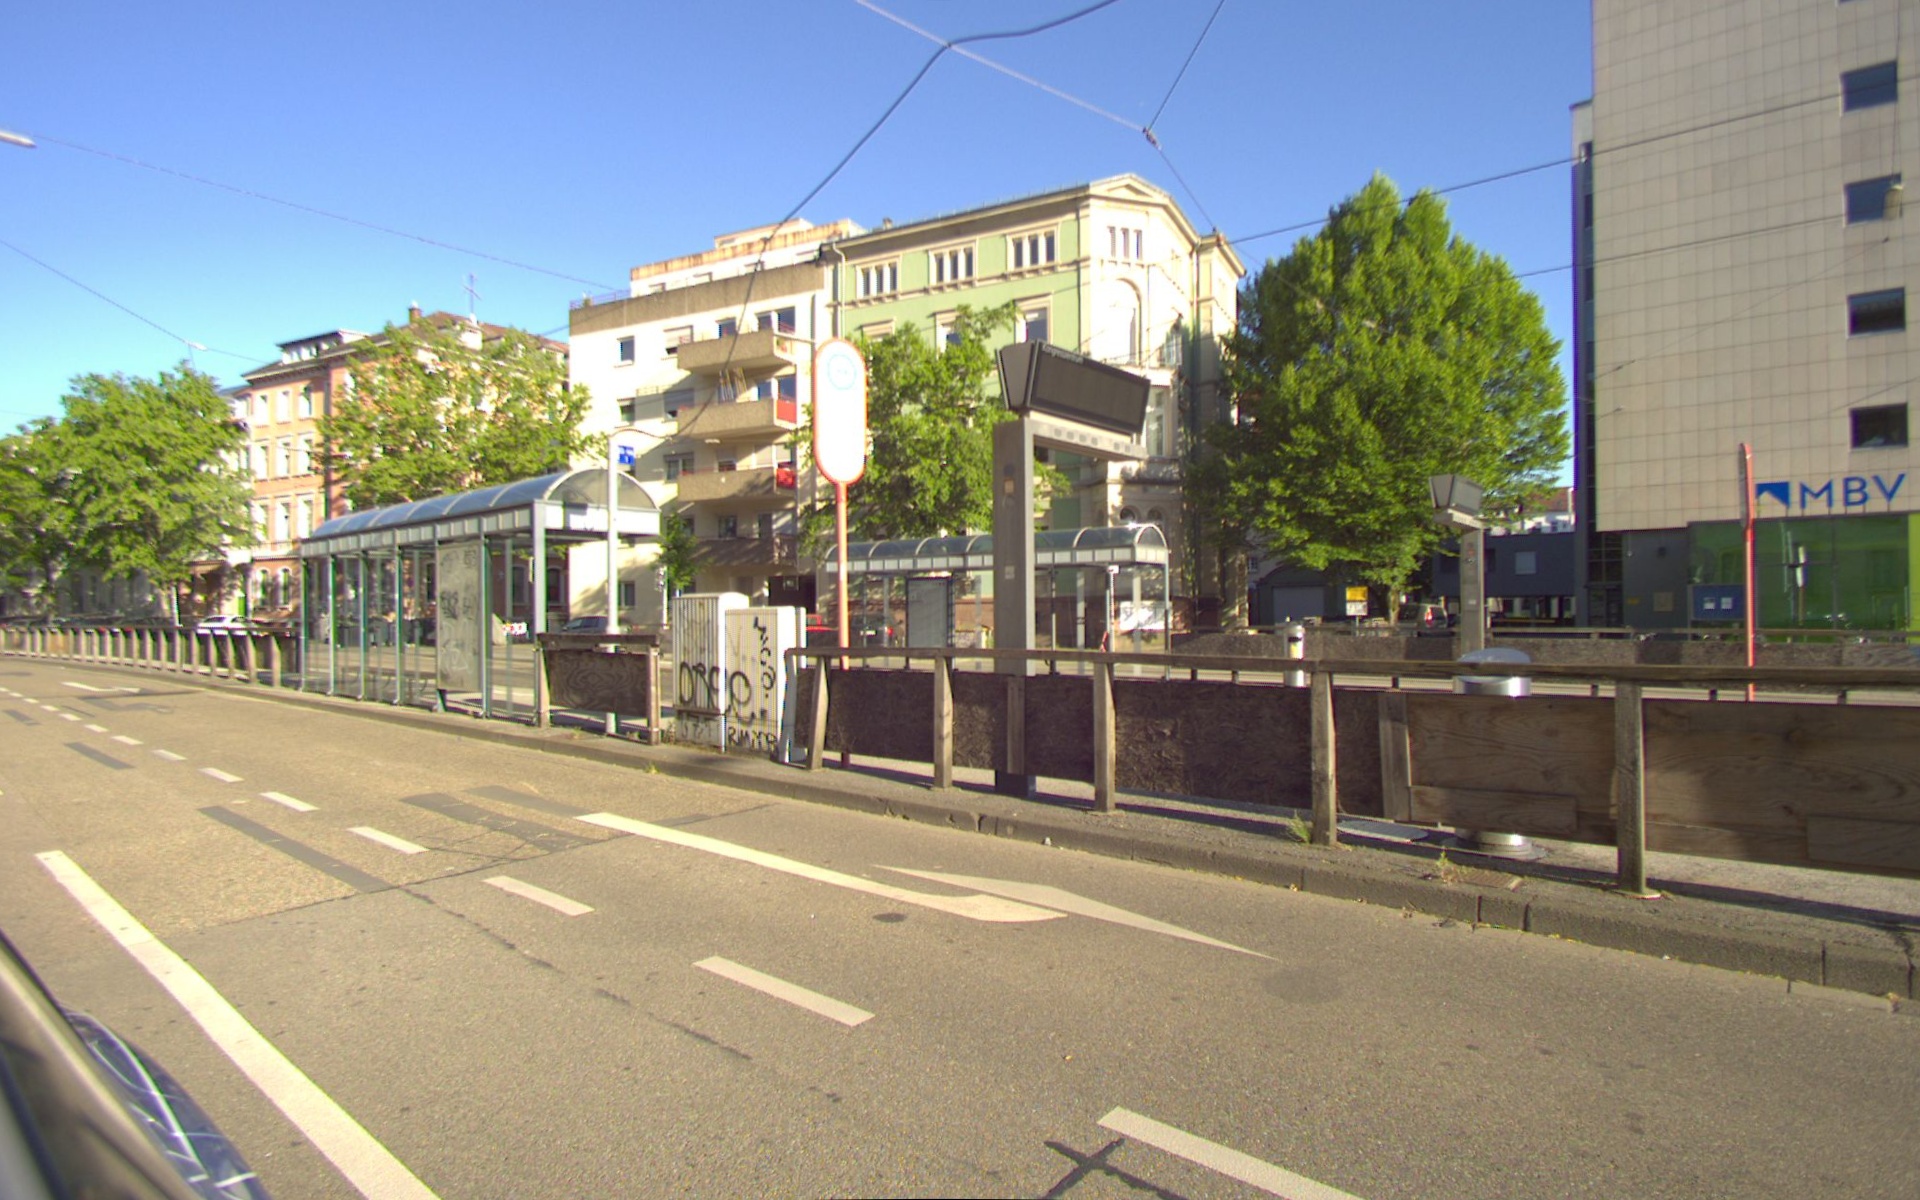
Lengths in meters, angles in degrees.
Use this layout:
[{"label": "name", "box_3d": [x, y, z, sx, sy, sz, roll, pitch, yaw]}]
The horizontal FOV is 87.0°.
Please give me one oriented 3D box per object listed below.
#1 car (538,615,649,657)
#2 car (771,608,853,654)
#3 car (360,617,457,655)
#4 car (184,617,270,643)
[{"label": "car", "box_3d": [-14.040, 1.379, 38.724, 3.987, 1.542, 1.978, -1, -3, 32]}, {"label": "car", "box_3d": [-6.699, 1.397, 46.127, 1.791, 2.029, 3.963, -1, -1, 27]}, {"label": "car", "box_3d": [-23.708, 1.523, 43.490, 3.987, 1.541, 1.978, -1, -2, 32]}, {"label": "car", "box_3d": [-39.209, 1.580, 54.224, 1.565, 1.360, 3.631, 0, -1, 11]}]
